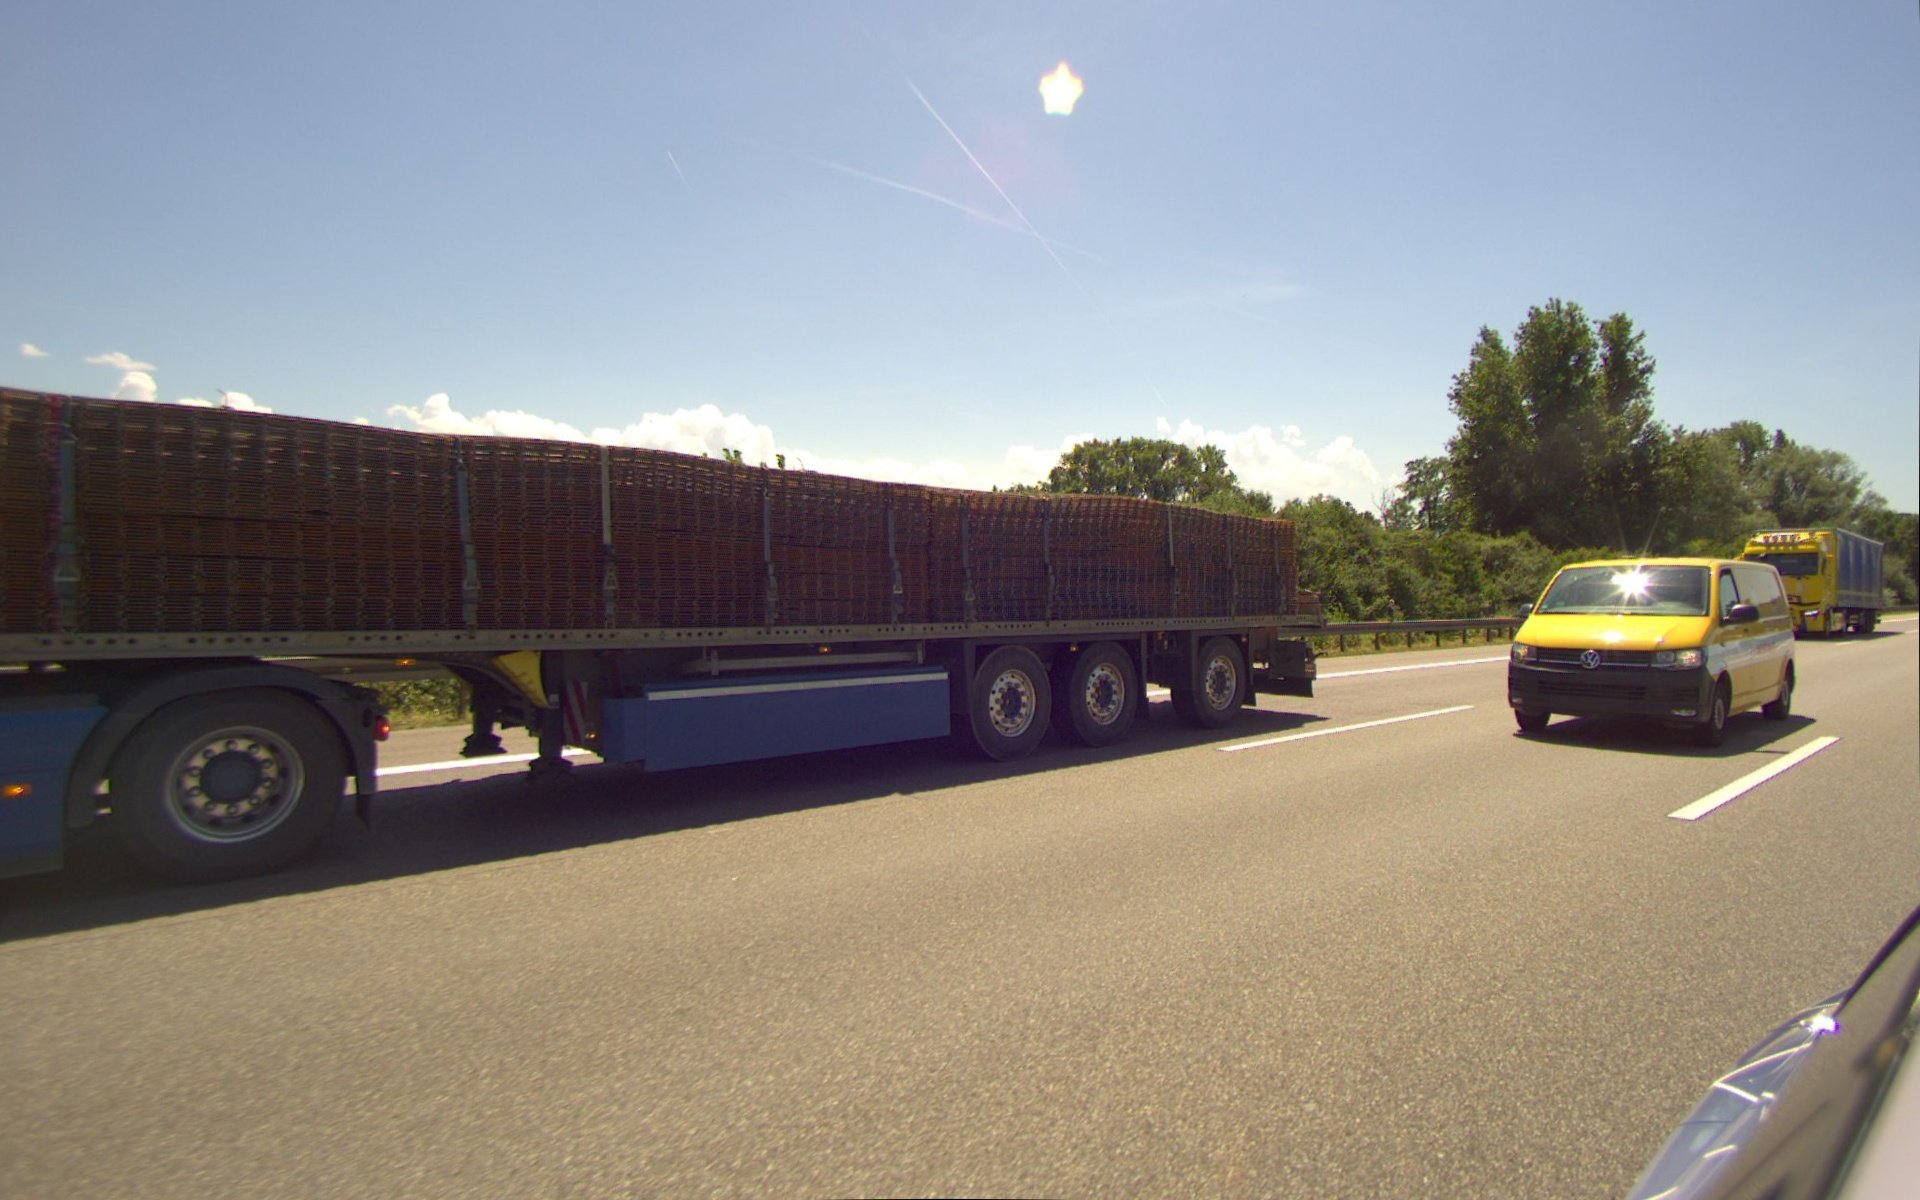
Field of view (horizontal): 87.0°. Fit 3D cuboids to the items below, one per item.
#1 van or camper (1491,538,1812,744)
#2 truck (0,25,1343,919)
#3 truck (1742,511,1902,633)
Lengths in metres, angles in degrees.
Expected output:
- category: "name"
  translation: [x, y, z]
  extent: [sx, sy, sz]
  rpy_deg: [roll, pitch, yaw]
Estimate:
- category: "van or camper"
  translation: [8.251, 0.367, 11.870]
  extent: [4.885, 1.933, 1.996]
  rpy_deg: [0, 0, -42]
- category: "truck"
  translation: [-2.256, -0.646, 8.371]
  extent: [16.328, 4.007, 2.974]
  rpy_deg: [-1, 1, -42]
- category: "truck"
  translation: [36.452, -1.168, 42.388]
  extent: [16.503, 4.310, 2.850]
  rpy_deg: [-1, 2, -42]
